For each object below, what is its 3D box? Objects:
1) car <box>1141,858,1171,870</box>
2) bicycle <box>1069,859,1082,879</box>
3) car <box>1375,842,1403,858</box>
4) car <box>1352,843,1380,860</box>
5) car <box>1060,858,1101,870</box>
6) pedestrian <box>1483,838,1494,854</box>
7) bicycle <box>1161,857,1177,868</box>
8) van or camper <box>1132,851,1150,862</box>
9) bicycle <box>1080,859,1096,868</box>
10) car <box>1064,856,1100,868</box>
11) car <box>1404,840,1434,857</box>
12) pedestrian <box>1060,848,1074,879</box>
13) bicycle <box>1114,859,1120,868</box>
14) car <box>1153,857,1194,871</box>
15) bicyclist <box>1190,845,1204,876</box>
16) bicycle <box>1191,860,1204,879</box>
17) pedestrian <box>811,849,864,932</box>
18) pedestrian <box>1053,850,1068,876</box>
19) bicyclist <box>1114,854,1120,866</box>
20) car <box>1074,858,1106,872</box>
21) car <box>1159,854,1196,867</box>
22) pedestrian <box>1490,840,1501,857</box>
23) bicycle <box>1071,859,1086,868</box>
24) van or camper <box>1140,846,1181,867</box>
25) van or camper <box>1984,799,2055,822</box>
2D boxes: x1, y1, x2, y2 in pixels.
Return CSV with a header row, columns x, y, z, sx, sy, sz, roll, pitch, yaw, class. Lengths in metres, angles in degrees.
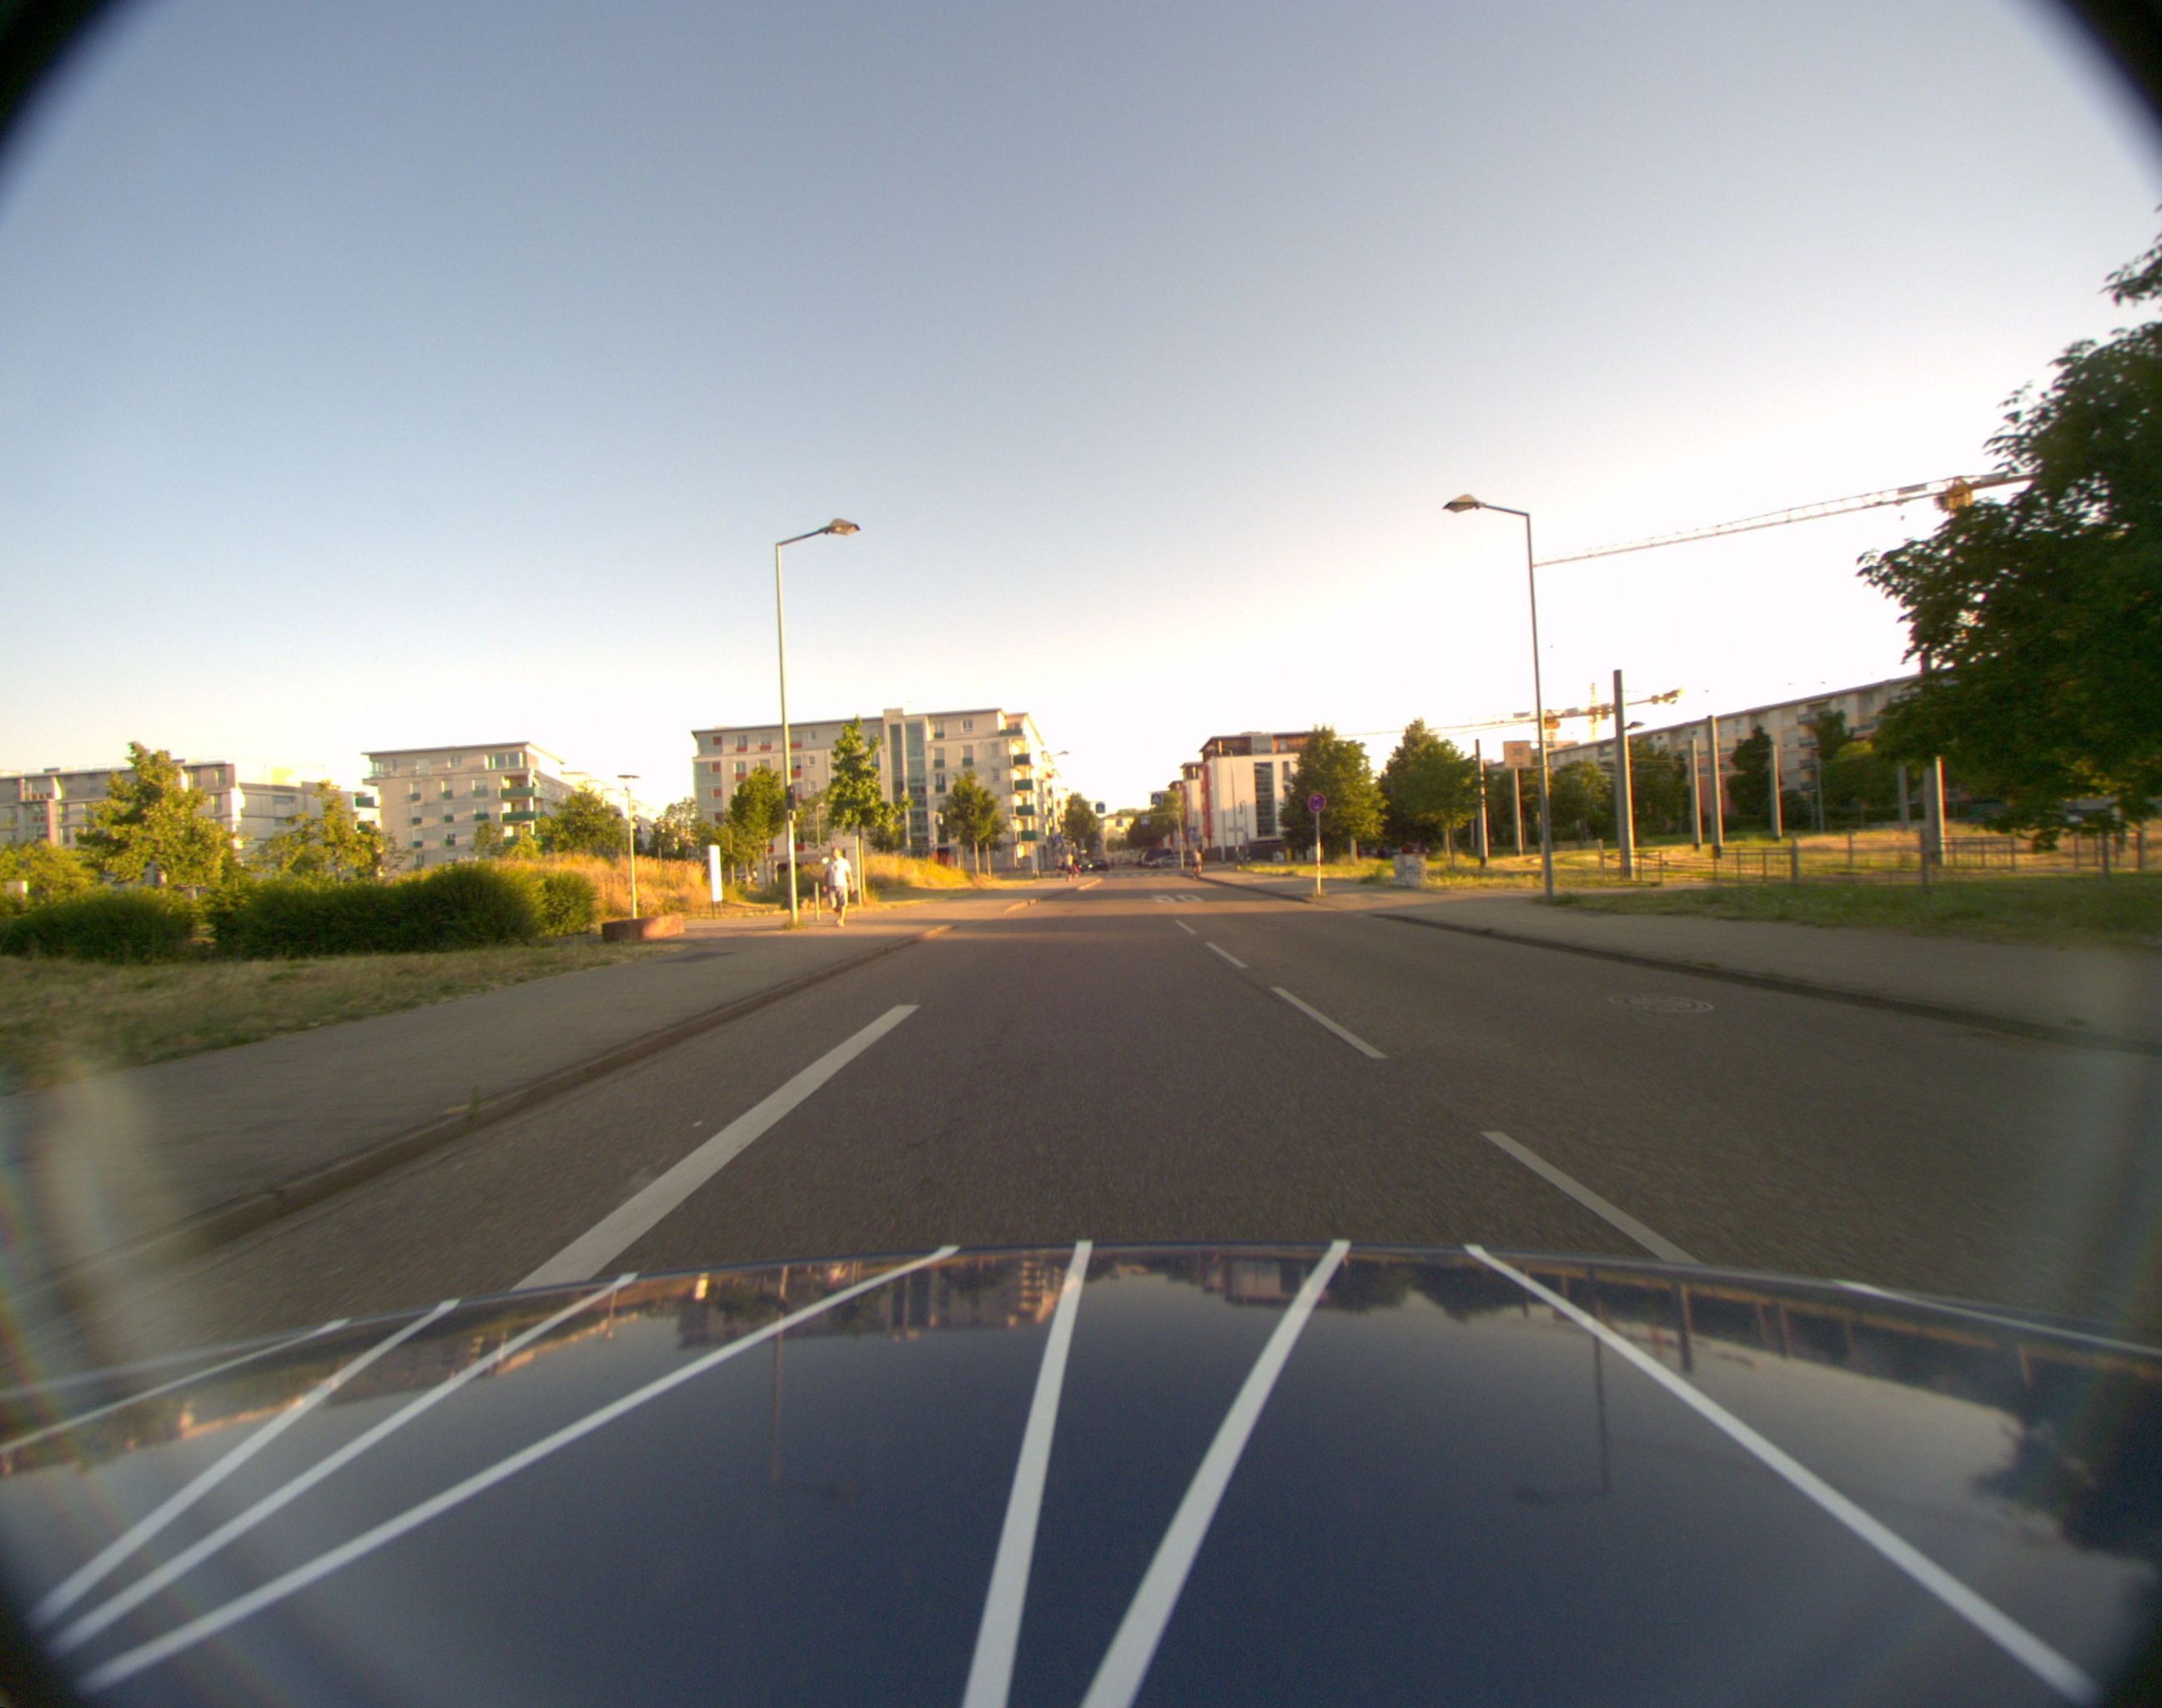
x,y,z,sx,sy,sz,roll,pitch,yaw,class
11.092,1.480,112.578,4.102,1.616,1.724,-3,0,-2,car
-0.319,0.874,44.271,0.451,1.161,1.942,-3,-1,7,bicycle
30.713,-0.358,75.851,1.593,1.491,3.411,-3,0,4,car
28.582,-0.252,76.218,1.689,1.513,3.411,-3,0,4,car
-0.087,1.199,92.823,4.885,1.449,1.939,0,-1,4,car
41.794,-0.852,77.944,0.714,1.590,0.655,-5,1,-38,pedestrian
10.429,1.000,90.129,1.821,1.060,0.567,-6,-1,0,bicycle
13.866,0.542,175.682,4.250,2.520,1.761,0,0,3,van or camper
0.844,1.140,90.583,1.839,1.065,0.473,0,-1,-2,bicycle
0.091,0.979,95.968,4.410,1.499,1.743,0,-1,5,car
33.393,-0.533,75.236,1.593,1.491,3.411,-3,0,4,car
-0.806,0.545,44.558,0.595,1.791,0.818,-3,-1,8,pedestrian
5.220,1.360,110.843,0.771,1.259,1.782,-3,-1,1,bicycle
11.603,1.259,95.462,4.915,1.469,1.711,-5,-1,0,car
6.503,0.374,42.599,0.616,1.652,1.037,-3,-1,5,bicyclist
6.510,0.850,42.595,0.539,1.036,1.926,-3,-1,6,bicycle
-5.340,0.780,16.704,0.833,1.756,0.818,0,1,8,pedestrian
-1.385,0.620,51.199,0.801,1.719,0.768,-3,-1,10,pedestrian
5.194,0.875,110.831,0.767,1.617,0.663,-3,-1,1,bicyclist
0.978,1.150,79.422,1.774,1.454,4.186,0,-1,24,car
11.754,0.763,92.840,4.291,1.449,1.681,-2,-1,0,car
42.243,-0.560,77.366,0.744,1.657,0.623,-5,1,-38,pedestrian
-0.328,1.116,89.959,1.792,1.035,0.567,0,-1,-2,bicycle
12.917,0.374,123.624,6.314,3.068,2.442,-3,0,-2,van or camper
86.747,-3.998,70.286,1.833,1.684,3.881,-3,-1,4,van or camper
